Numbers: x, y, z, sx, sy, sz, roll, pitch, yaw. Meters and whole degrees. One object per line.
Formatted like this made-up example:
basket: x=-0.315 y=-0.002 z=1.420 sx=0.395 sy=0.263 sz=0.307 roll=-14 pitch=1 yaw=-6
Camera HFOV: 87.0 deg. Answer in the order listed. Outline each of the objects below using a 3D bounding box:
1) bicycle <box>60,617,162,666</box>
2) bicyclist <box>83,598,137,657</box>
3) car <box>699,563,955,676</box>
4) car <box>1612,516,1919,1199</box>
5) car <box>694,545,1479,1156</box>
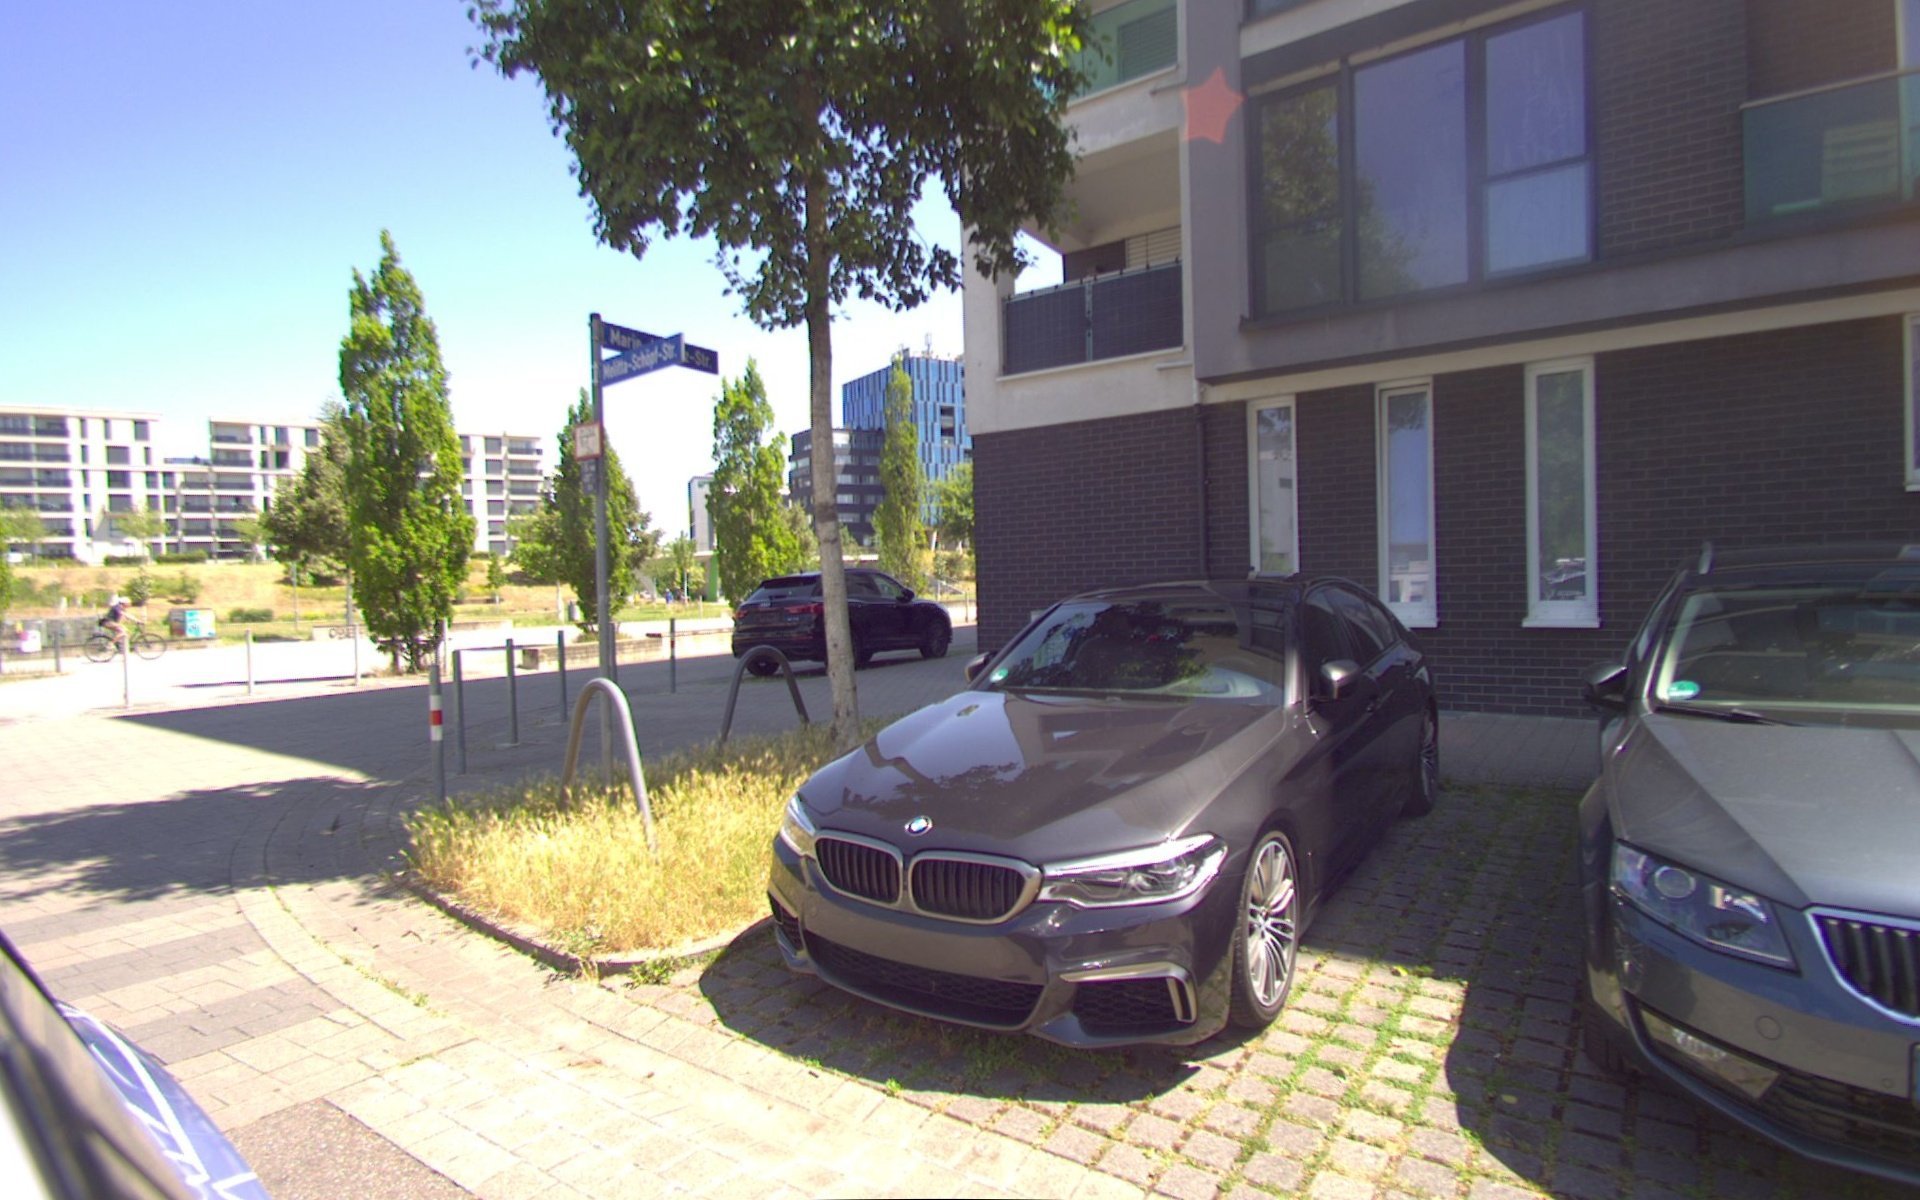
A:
bicycle: x=-22.133 y=1.067 z=26.442 sx=1.882 sy=1.126 sz=0.801 roll=-3 pitch=1 yaw=-28
bicyclist: x=-22.165 y=0.705 z=26.410 sx=0.868 sy=1.466 sz=0.862 roll=-3 pitch=1 yaw=-28
car: x=-1.954 y=0.247 z=16.295 sx=1.772 sy=1.531 sz=4.353 roll=-3 pitch=0 yaw=30
car: x=3.468 y=0.445 z=3.680 sx=1.822 sy=1.460 sz=4.781 roll=-1 pitch=3 yaw=33
car: x=1.261 y=0.540 z=5.123 sx=1.922 sy=1.496 sz=5.058 roll=-1 pitch=1 yaw=33
